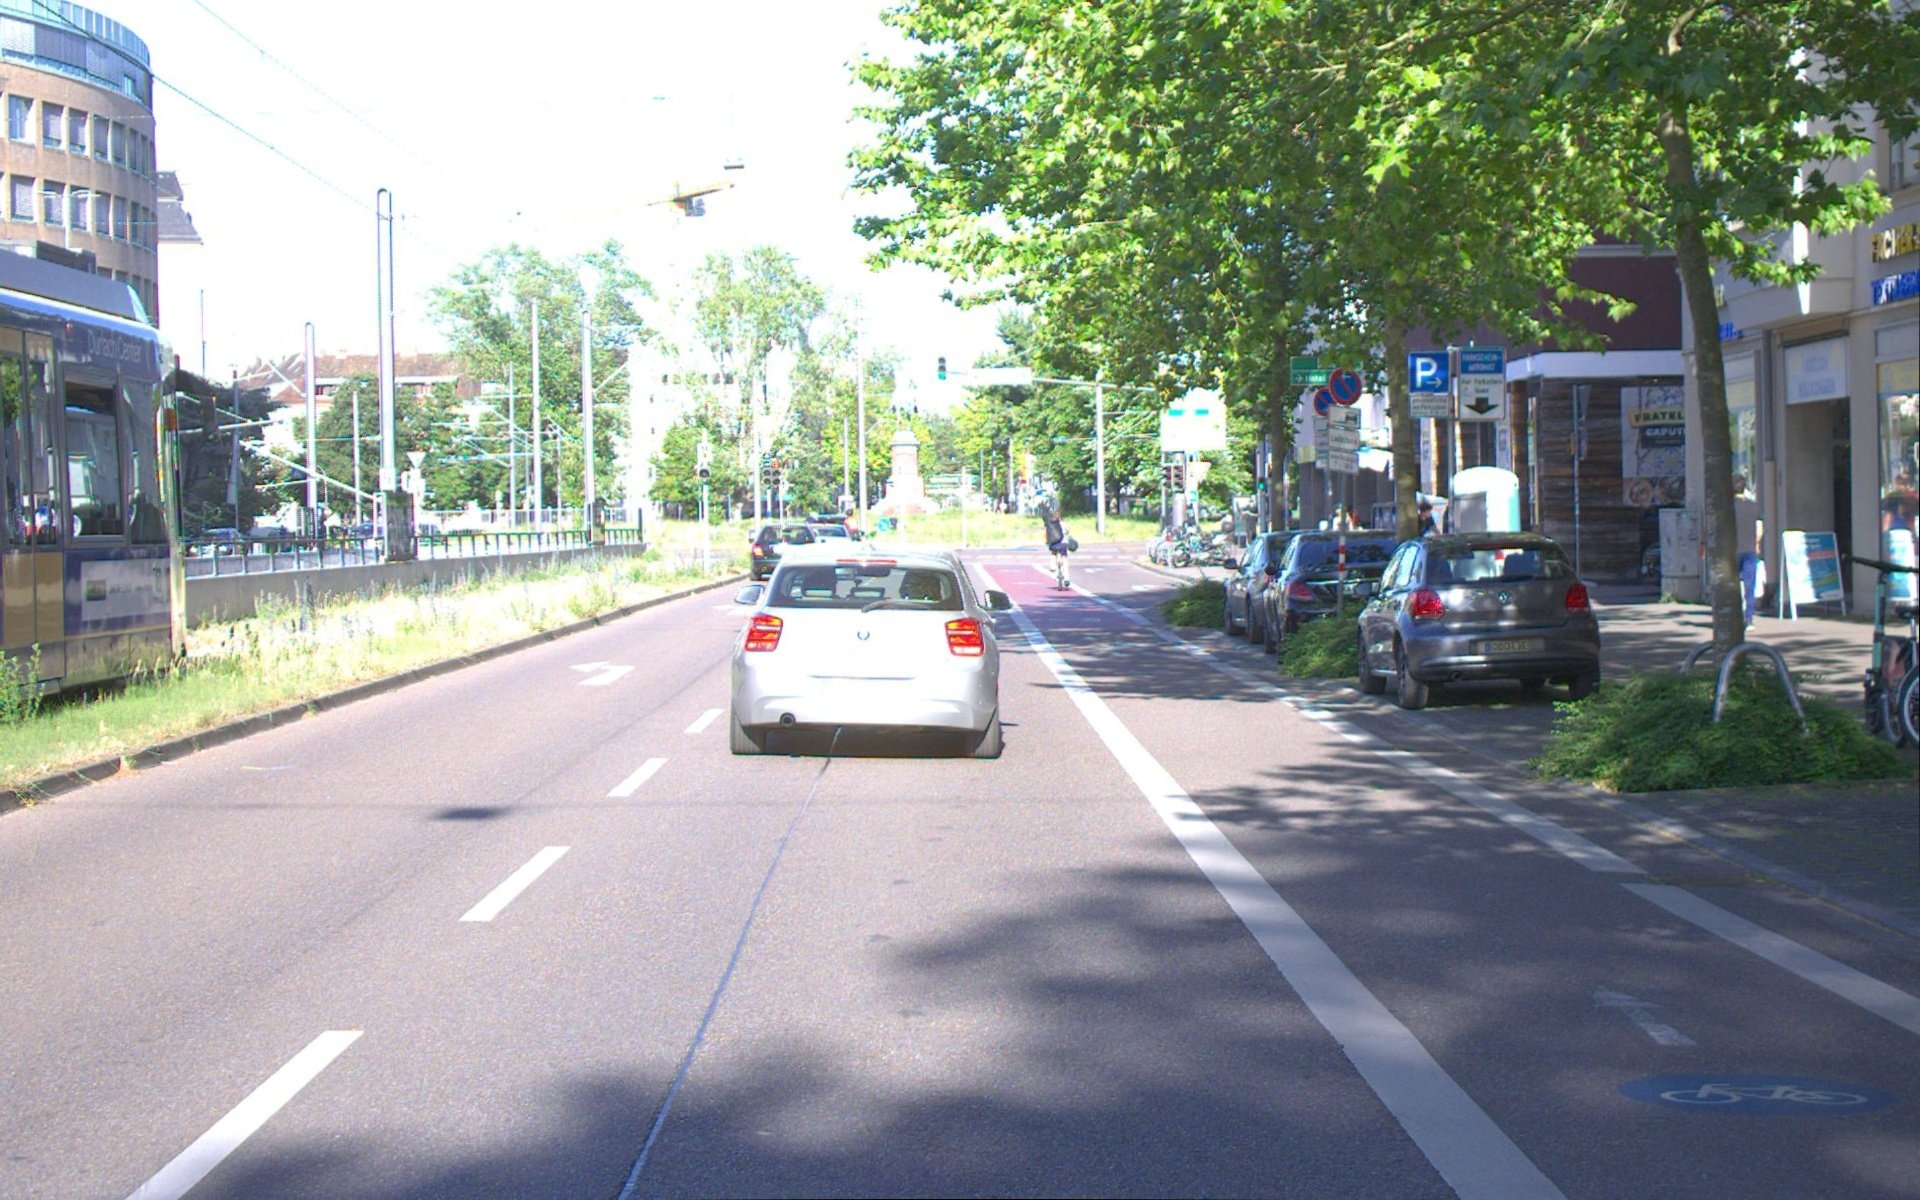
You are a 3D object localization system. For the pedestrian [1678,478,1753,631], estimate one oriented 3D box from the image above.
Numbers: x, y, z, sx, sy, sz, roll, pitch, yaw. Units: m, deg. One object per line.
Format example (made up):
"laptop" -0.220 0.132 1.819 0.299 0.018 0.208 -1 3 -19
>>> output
"pedestrian" 9.526 -0.576 43.369 0.714 1.893 0.863 -1 1 0

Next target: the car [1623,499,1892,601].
"car" 14.137 -0.887 61.106 4.299 1.782 1.995 0 1 0

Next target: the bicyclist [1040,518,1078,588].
"bicyclist" 2.174 -1.035 75.428 0.785 1.526 0.895 1 1 0

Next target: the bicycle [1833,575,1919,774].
"bicycle" 6.008 0.454 21.601 0.392 1.211 1.903 -2 0 -4

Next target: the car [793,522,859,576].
"car" -3.632 -1.408 93.768 1.644 1.416 4.000 0 1 0

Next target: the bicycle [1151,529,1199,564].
"bicycle" 6.767 -1.696 108.266 1.465 1.063 0.257 -2 1 2

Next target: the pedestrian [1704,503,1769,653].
"pedestrian" 8.949 -0.261 39.625 0.558 1.705 0.770 -1 1 0

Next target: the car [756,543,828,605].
"car" -4.183 -0.670 85.718 1.726 1.465 4.411 0 1 -3

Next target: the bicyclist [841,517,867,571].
"bicyclist" -3.066 -1.620 99.410 0.616 1.566 0.686 -1 1 -12

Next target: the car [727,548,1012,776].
"car" -0.611 0.366 23.885 1.798 1.410 4.000 1 1 -1

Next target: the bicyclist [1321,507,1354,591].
"bicyclist" 7.698 -1.043 70.115 0.601 1.684 0.597 -1 1 10

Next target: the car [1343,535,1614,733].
"car" 4.460 0.242 30.061 1.694 1.497 3.802 -3 2 0

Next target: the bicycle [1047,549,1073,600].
"bicycle" 2.187 -0.563 75.368 0.499 1.085 1.997 1 1 0

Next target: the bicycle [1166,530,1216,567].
"bicycle" 6.943 -1.547 103.231 1.465 1.063 0.257 -2 1 2

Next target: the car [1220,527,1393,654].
"car" 4.490 -0.169 45.100 1.789 1.550 4.436 -1 1 0

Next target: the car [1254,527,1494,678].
"car" 4.457 -0.024 37.648 2.038 1.504 4.594 -1 2 0

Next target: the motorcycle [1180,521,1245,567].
"motorcycle" 7.246 -1.613 98.743 1.855 1.296 0.652 -1 1 3

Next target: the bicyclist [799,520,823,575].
"bicyclist" -4.294 -1.513 98.980 0.616 1.566 0.686 1 1 1

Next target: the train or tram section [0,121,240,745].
"train or tram section" -7.470 -1.090 23.247 2.952 3.883 10.803 1 1 0

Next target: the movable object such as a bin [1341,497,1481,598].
"movable object such as a bin" 8.757 -1.052 66.997 1.945 1.837 3.481 -1 2 -6

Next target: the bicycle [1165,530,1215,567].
"bicycle" 6.941 -1.552 103.576 1.465 1.063 0.257 -2 1 2

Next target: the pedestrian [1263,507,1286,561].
"pedestrian" 11.822 -2.472 129.088 0.791 2.007 0.870 1 1 7

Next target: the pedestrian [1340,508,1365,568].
"pedestrian" 10.321 -1.634 90.488 0.573 1.577 0.556 -1 1 0
